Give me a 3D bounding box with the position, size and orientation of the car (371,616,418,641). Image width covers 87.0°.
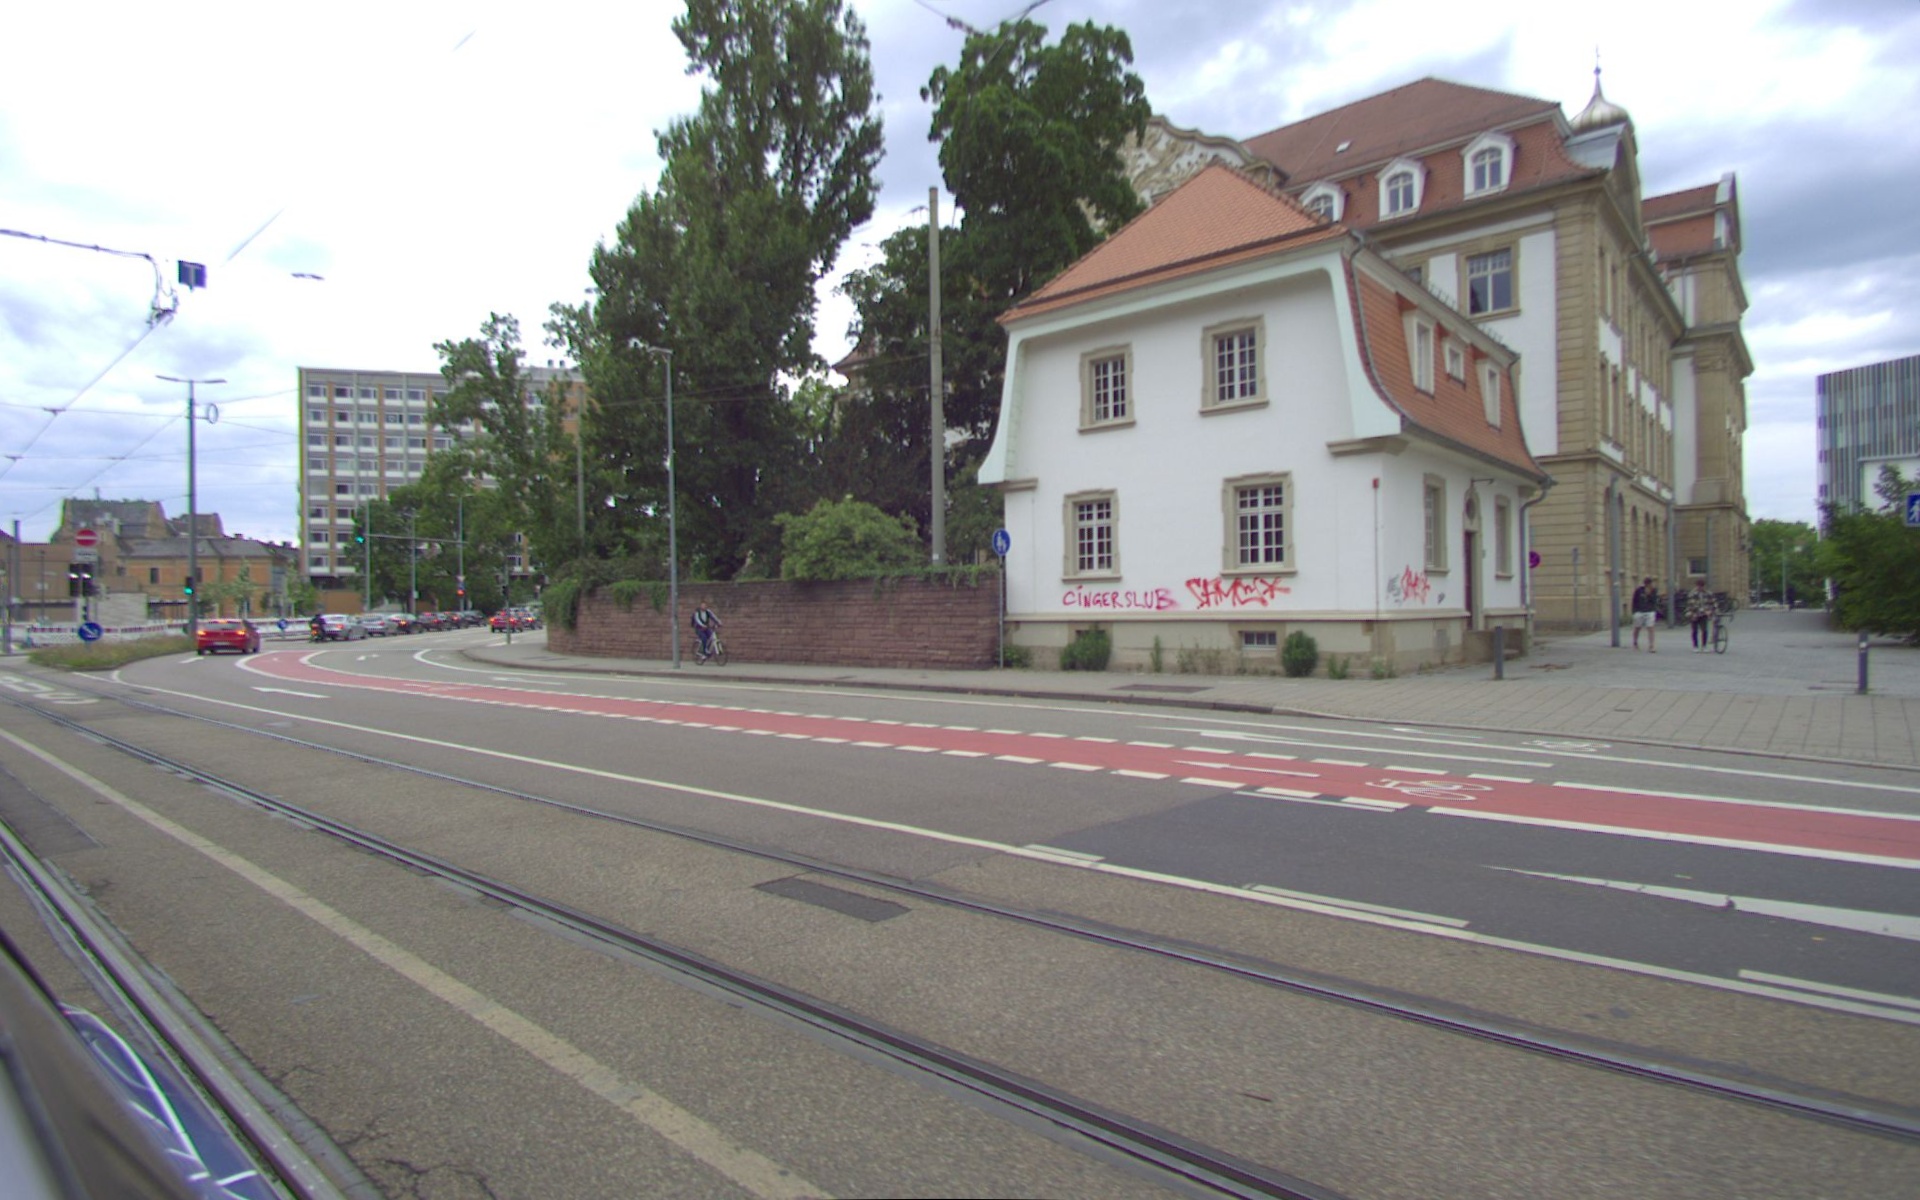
[{"bbox_3d":[-39.095,1.973,70.086,1.757,1.623,4.336,-1,0,-14],"label":"car"}]

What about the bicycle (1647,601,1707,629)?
[{"bbox_3d":[29.497,0.606,41.637,0.606,1.082,1.932,0,1,-43],"label":"bicycle"}]

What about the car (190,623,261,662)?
[{"bbox_3d":[-30.386,1.717,41.964,1.731,1.510,4.013,1,-2,-27],"label":"car"}]

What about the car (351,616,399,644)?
[{"bbox_3d":[-37.451,1.901,64.830,1.658,1.663,3.991,-1,0,-15],"label":"car"}]

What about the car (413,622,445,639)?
[{"bbox_3d":[-40.047,2.300,76.320,1.400,1.180,3.079,-1,0,-13],"label":"car"}]

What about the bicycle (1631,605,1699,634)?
[{"bbox_3d":[25.628,0.695,36.808,0.708,0.986,1.932,0,1,-43],"label":"bicycle"}]

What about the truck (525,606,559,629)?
[{"bbox_3d":[-56.346,2.371,136.467,3.435,3.002,7.636,-1,0,-16],"label":"truck"}]

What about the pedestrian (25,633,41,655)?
[{"bbox_3d":[-45.447,2.149,49.616,0.537,1.064,0.638,0,-1,-41],"label":"pedestrian"}]

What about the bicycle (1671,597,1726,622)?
[{"bbox_3d":[33.807,0.425,46.361,0.708,1.082,1.932,0,1,-43],"label":"bicycle"}]

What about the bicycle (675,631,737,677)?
[{"bbox_3d":[-7.128,1.488,28.312,1.868,1.221,0.766,-2,-1,42],"label":"bicycle"}]

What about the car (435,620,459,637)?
[{"bbox_3d":[-42.156,2.353,83.173,1.391,1.342,3.321,-1,-1,-20],"label":"car"}]

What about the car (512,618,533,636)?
[{"bbox_3d":[-36.466,2.252,84.403,1.558,1.408,4.013,-1,-1,-22],"label":"car"}]

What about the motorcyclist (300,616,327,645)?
[{"bbox_3d":[-34.436,1.614,53.949,1.058,1.497,1.255,-1,-1,-26],"label":"motorcyclist"}]

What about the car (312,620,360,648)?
[{"bbox_3d":[-35.388,1.900,57.462,1.469,1.520,3.480,0,-1,-16],"label":"car"}]

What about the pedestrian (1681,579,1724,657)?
[{"bbox_3d":[17.533,0.403,23.898,0.639,1.794,0.684,2,1,24],"label":"pedestrian"}]

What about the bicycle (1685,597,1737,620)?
[{"bbox_3d":[36.419,0.409,49.094,0.708,1.082,1.932,0,1,-43],"label":"bicycle"}]

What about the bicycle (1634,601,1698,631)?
[{"bbox_3d":[27.473,0.618,39.403,0.708,1.082,1.932,0,1,-43],"label":"bicycle"}]

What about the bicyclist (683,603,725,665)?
[{"bbox_3d":[-7.173,0.930,28.356,0.868,1.703,0.766,-2,-1,42],"label":"bicyclist"}]

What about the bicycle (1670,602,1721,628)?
[{"bbox_3d":[32.204,0.635,44.307,0.539,1.082,1.717,0,1,-43],"label":"bicycle"}]

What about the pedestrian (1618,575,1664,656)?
[{"bbox_3d":[16.308,0.370,24.261,0.751,1.899,0.684,1,0,23],"label":"pedestrian"}]

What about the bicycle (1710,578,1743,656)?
[{"bbox_3d":[17.993,0.396,23.774,0.357,1.794,0.933,2,1,23],"label":"bicycle"}]

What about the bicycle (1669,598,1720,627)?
[{"bbox_3d":[32.778,0.557,45.182,0.579,1.224,1.782,0,1,-43],"label":"bicycle"}]

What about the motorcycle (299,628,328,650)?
[{"bbox_3d":[-34.295,2.070,53.690,1.038,1.077,2.657,-1,-1,-27],"label":"motorcycle"}]

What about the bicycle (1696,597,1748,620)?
[{"bbox_3d":[37.697,0.405,50.075,0.708,1.082,1.932,0,1,-43],"label":"bicycle"}]

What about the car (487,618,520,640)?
[{"bbox_3d":[-34.504,2.156,76.597,1.801,1.594,4.012,-1,-1,-17],"label":"car"}]

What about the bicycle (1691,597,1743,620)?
[{"bbox_3d":[37.026,0.410,49.502,0.708,1.082,1.932,0,1,-43],"label":"bicycle"}]

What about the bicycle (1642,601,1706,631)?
[{"bbox_3d":[28.180,0.613,39.966,0.708,1.082,1.932,0,1,-43],"label":"bicycle"}]

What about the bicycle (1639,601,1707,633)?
[{"bbox_3d":[26.362,0.618,37.445,0.708,1.082,1.932,0,1,-43],"label":"bicycle"}]
